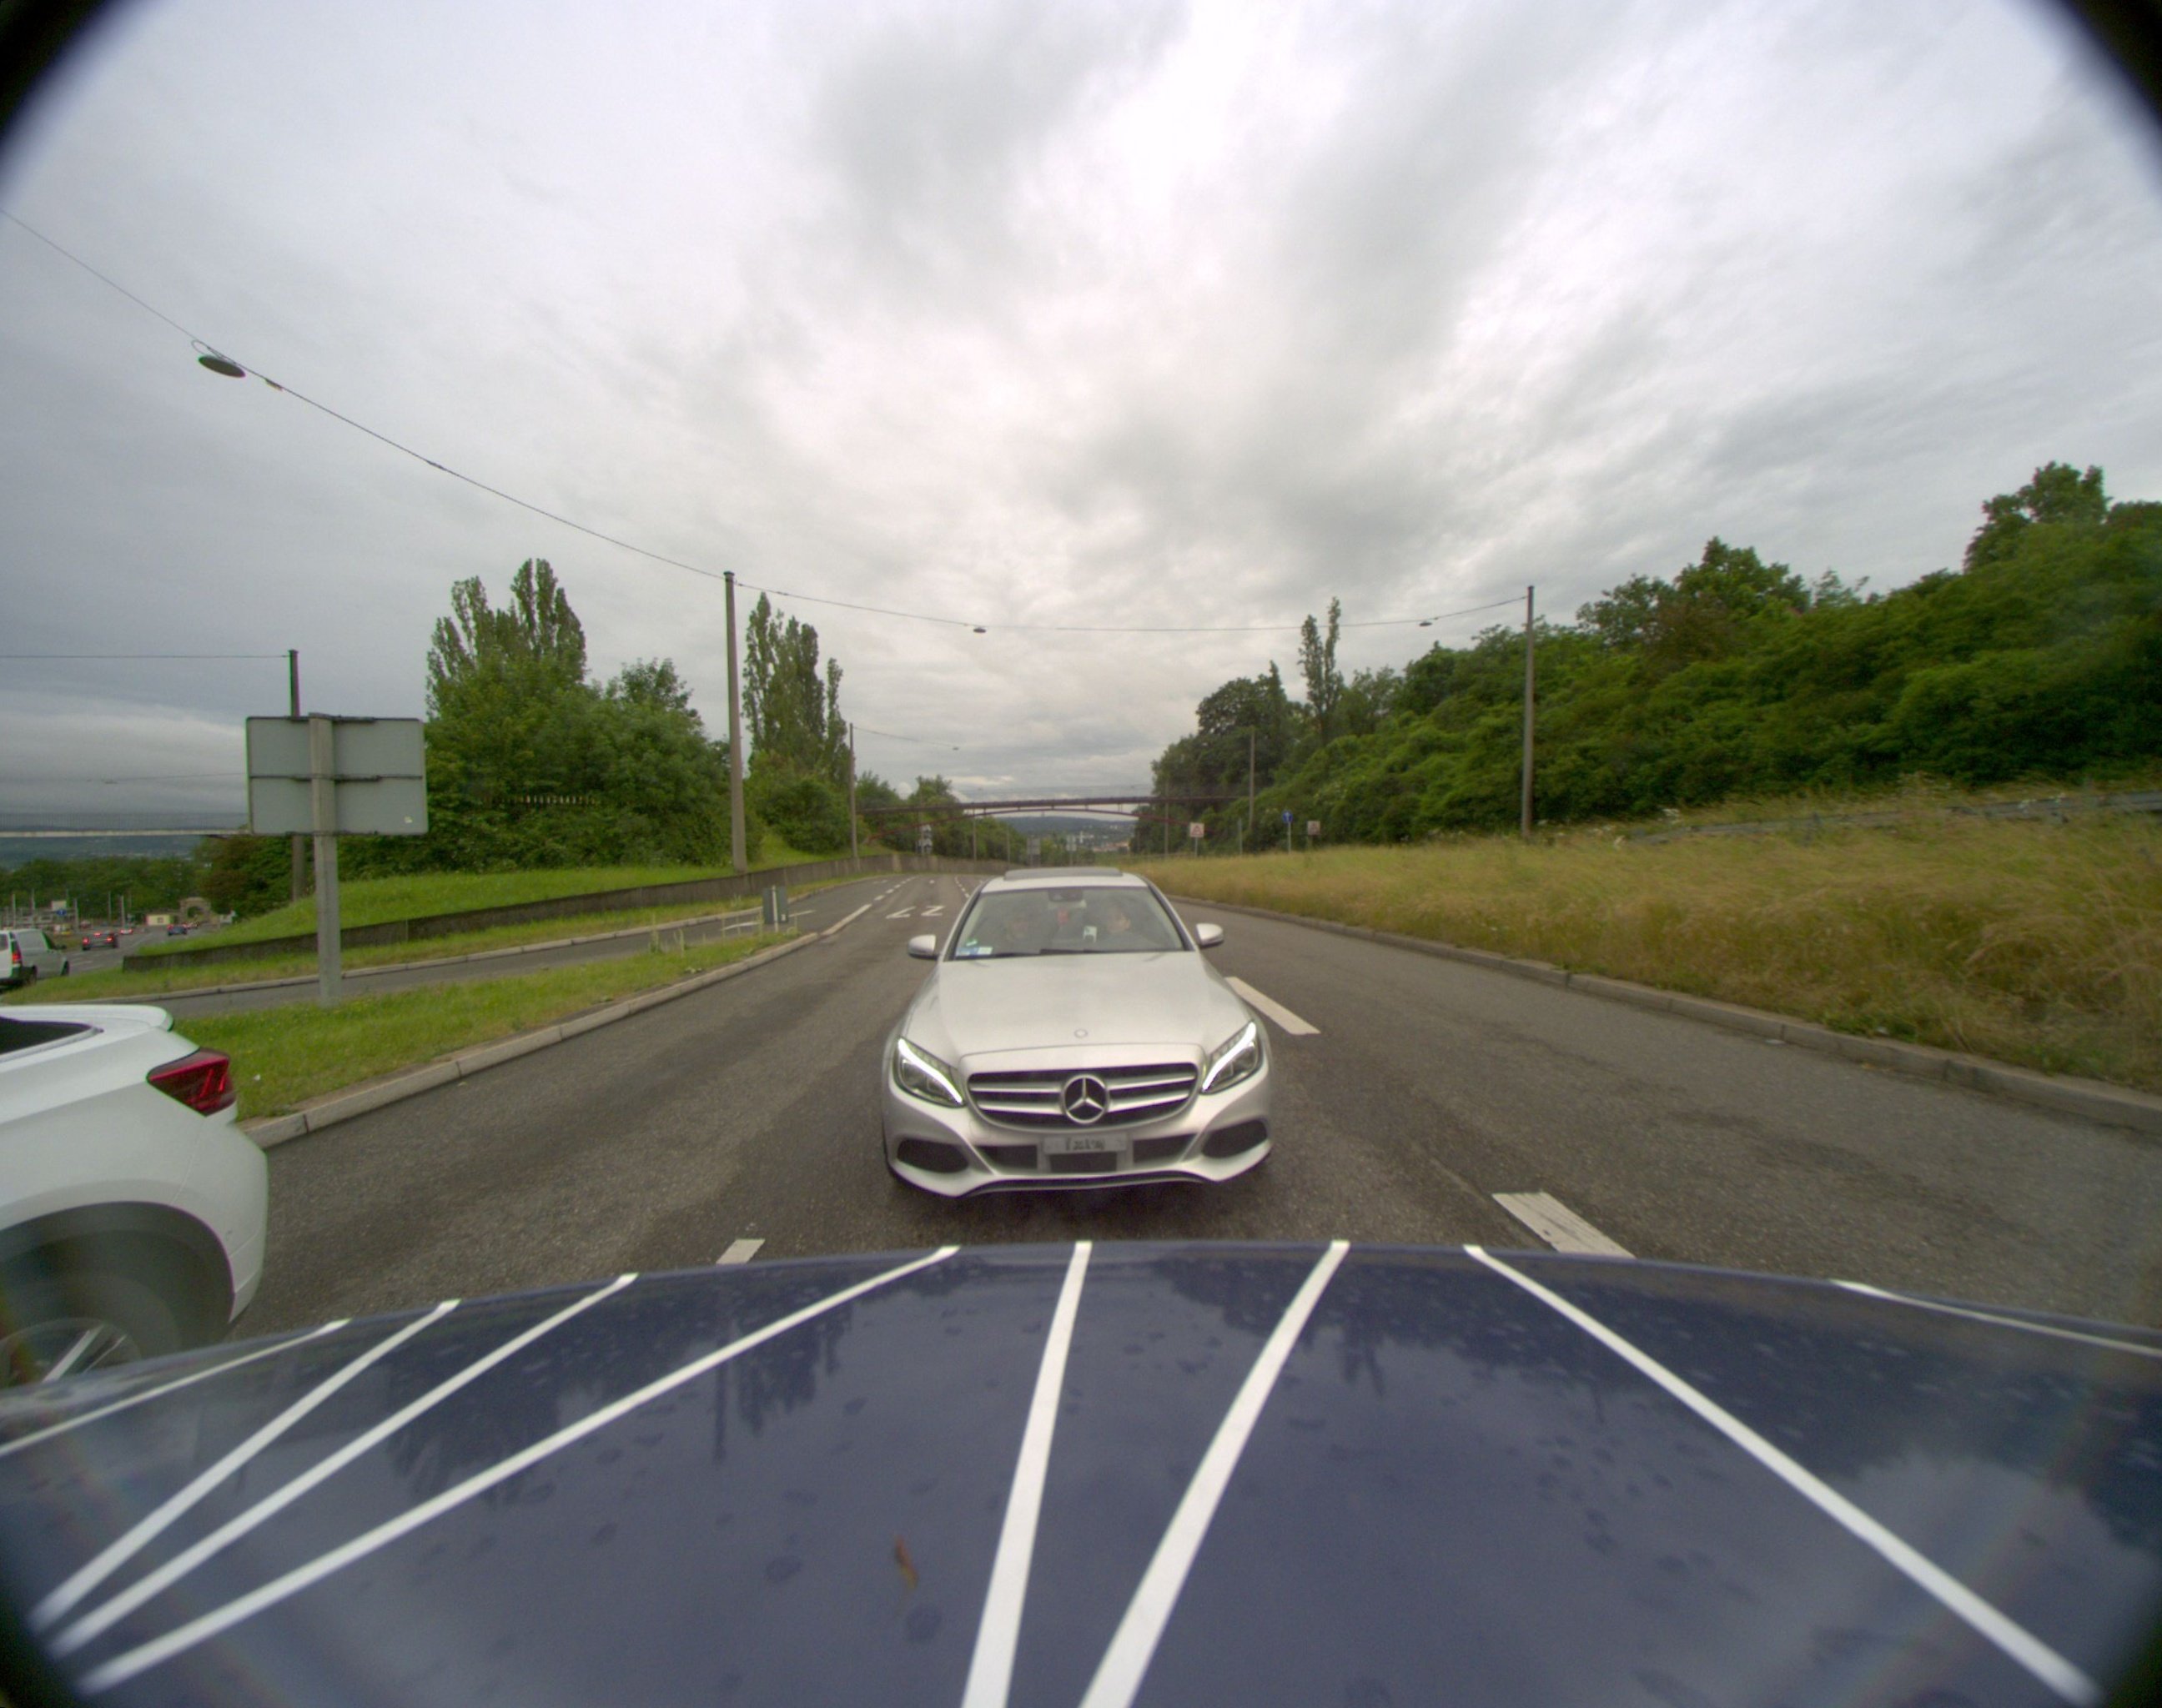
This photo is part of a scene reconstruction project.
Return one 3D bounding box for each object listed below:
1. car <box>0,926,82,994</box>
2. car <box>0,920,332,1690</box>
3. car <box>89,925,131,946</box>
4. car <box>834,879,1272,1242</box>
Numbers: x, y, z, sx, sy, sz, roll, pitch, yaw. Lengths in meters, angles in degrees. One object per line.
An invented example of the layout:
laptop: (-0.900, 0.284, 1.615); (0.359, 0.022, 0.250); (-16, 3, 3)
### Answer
car: (-33.134, 3.281, 23.339); (2.003, 1.837, 4.812); (-5, 0, -42)
car: (-3.106, 1.035, 0.156); (1.718, 1.544, 4.228); (-2, 1, -2)
car: (-80.119, 6.726, 62.755); (4.071, 1.412, 1.688); (-4, 0, 43)
car: (-0.100, 0.984, 5.415); (1.895, 1.361, 4.134); (-2, 1, 1)
